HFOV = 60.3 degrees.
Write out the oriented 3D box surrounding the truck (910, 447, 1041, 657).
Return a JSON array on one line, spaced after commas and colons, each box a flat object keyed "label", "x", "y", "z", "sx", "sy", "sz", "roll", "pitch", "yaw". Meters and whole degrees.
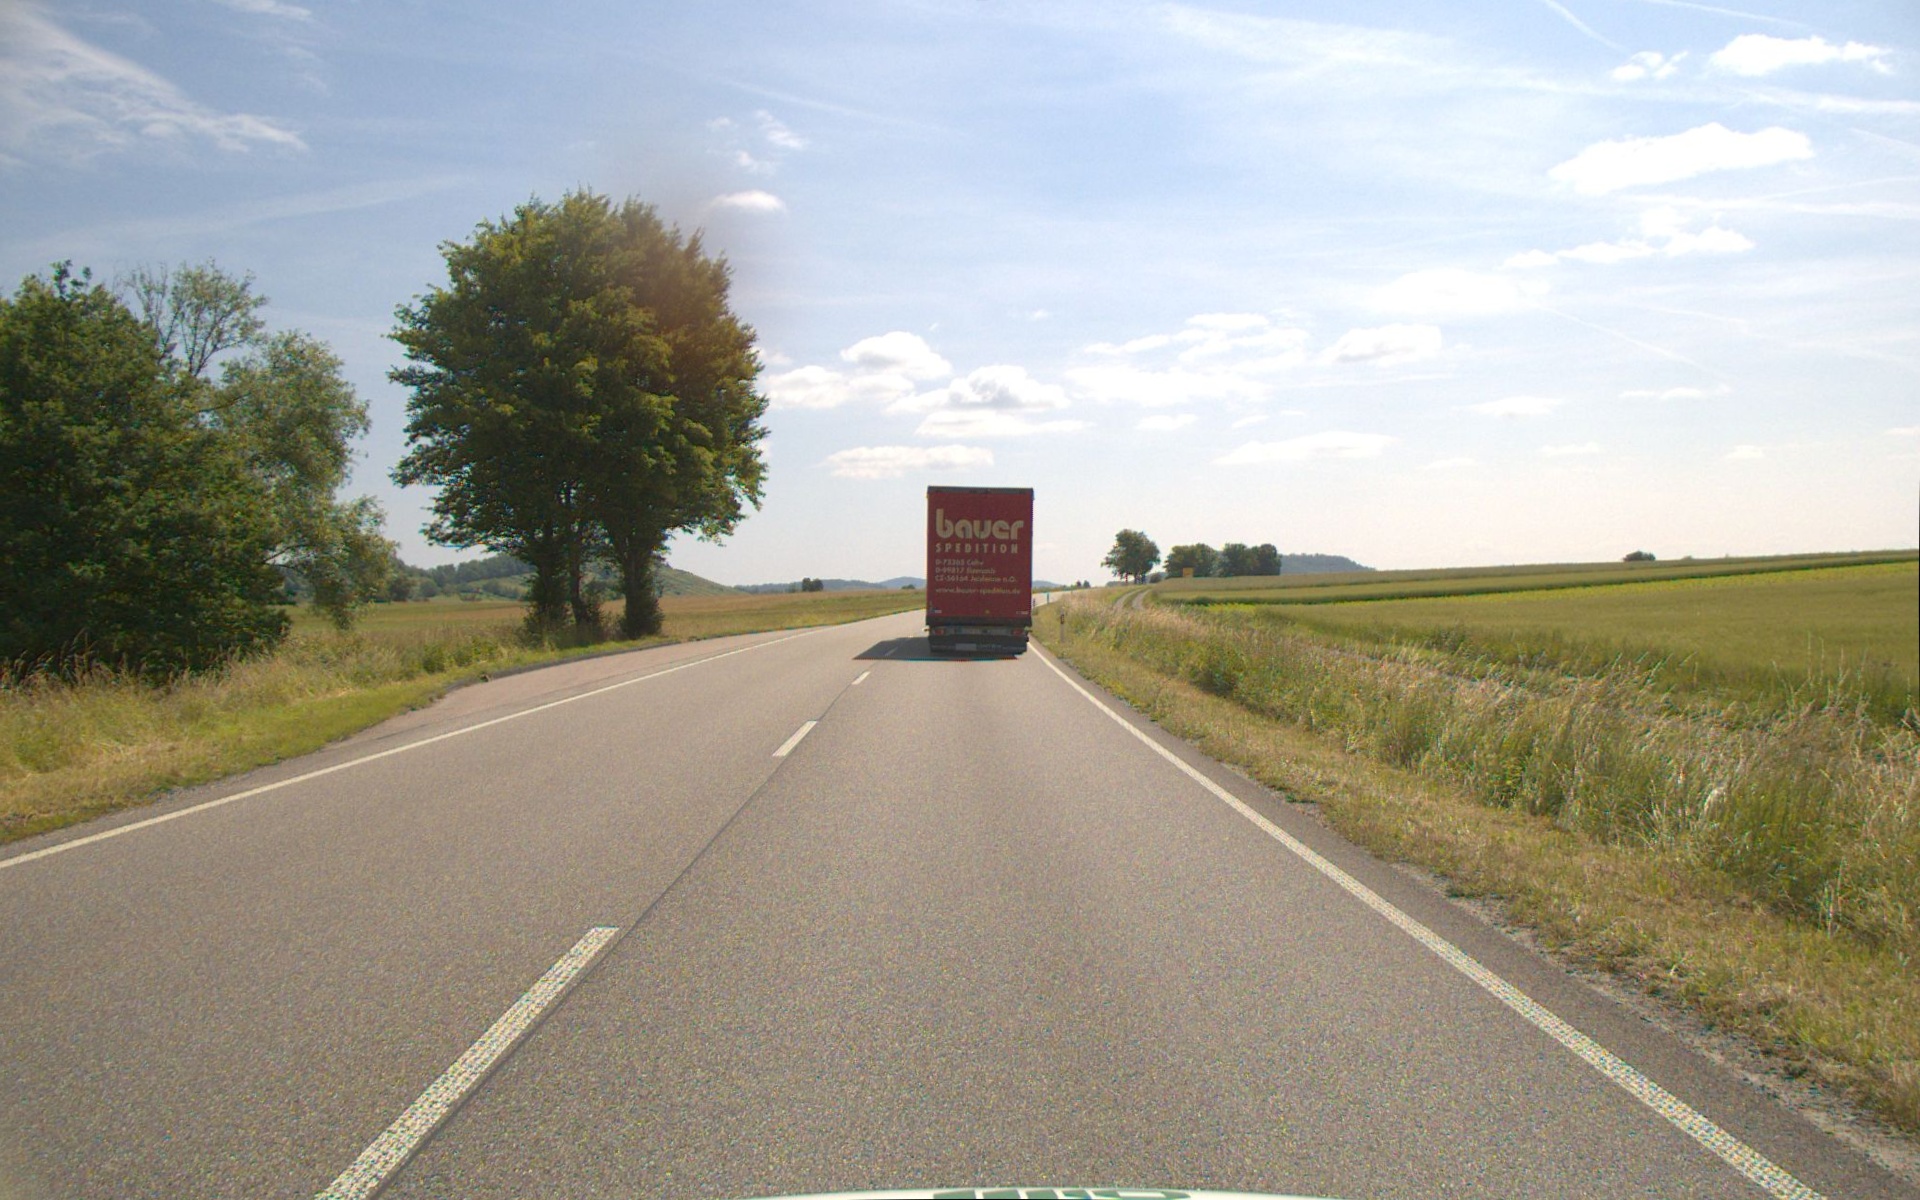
[{"label": "truck", "x": 0.230, "y": -1.112, "z": 43.160, "sx": 2.915, "sy": 4.796, "sz": 9.362, "roll": 2, "pitch": 0, "yaw": -2}]
